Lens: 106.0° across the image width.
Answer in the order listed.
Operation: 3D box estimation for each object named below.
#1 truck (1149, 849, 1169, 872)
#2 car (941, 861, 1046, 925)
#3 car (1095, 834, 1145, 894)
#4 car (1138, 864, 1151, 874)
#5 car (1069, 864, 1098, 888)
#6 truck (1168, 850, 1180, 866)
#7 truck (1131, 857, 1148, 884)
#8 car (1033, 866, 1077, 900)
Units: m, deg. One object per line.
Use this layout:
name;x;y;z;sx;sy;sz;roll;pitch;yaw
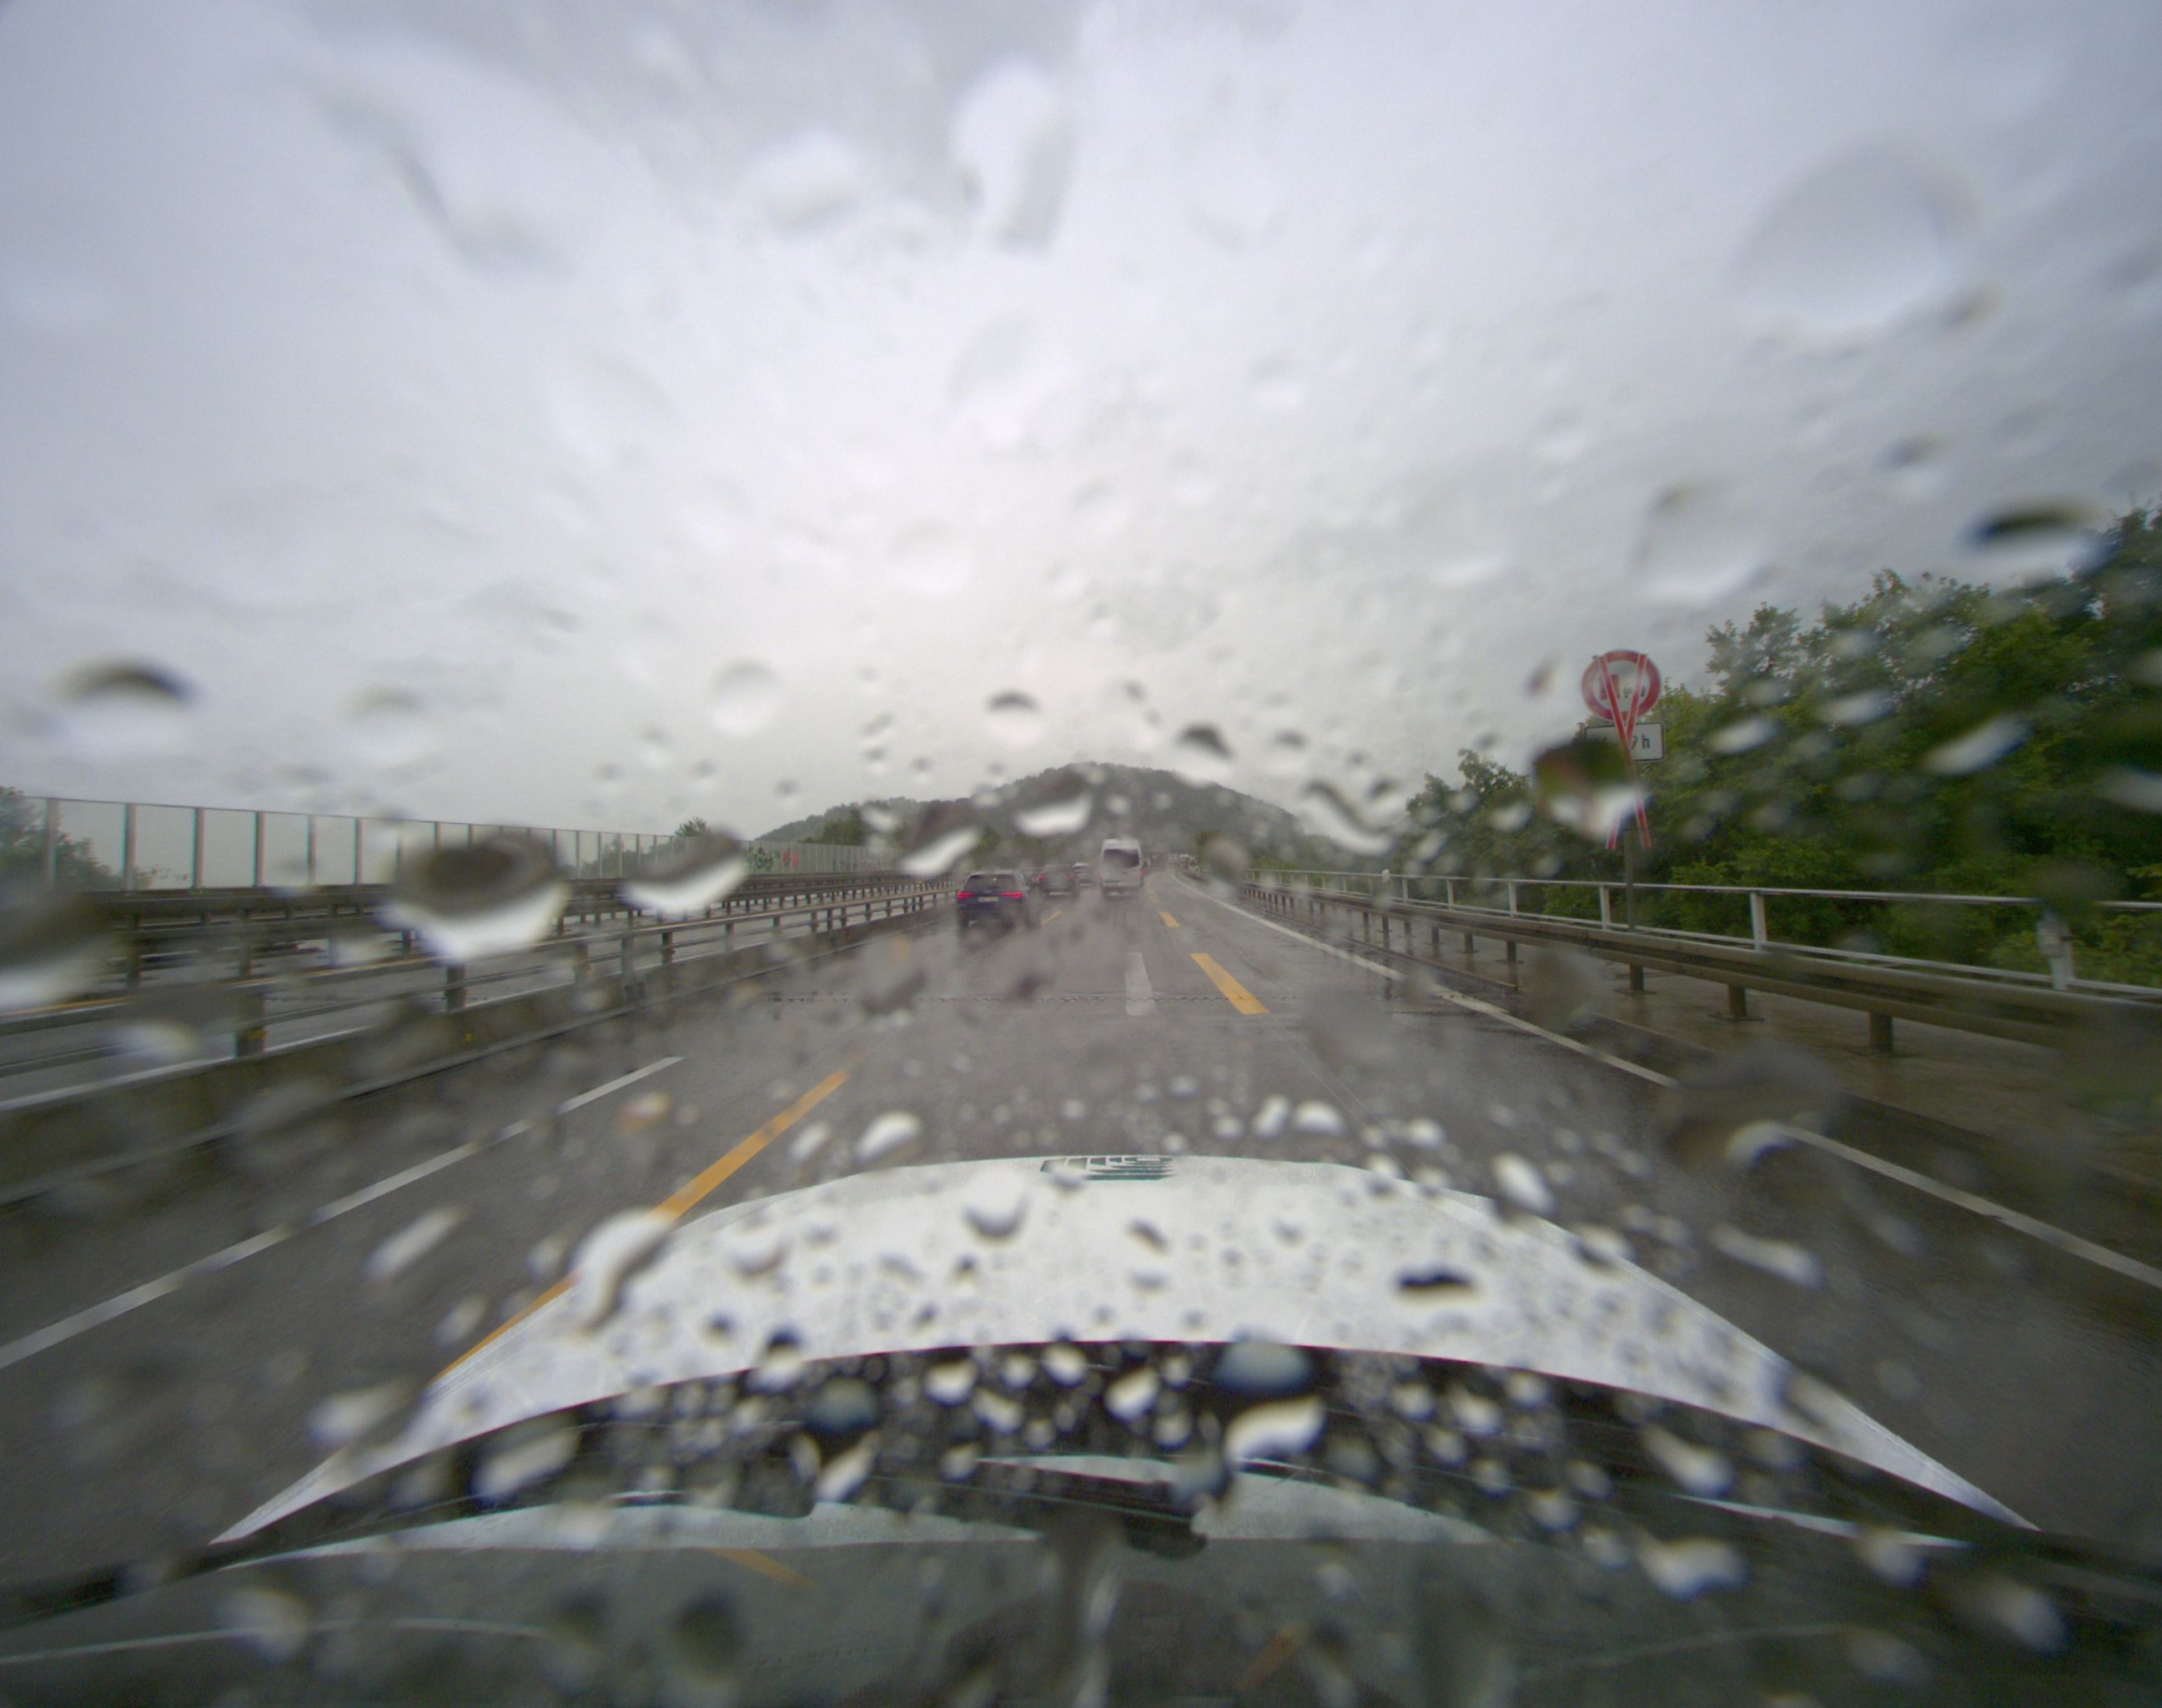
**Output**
truck;15.727;1.334;163.865;3.561;4.407;9.646;0;-1;9
car;-2.177;0.965;21.629;1.985;1.498;4.634;0;-1;3
car;1.796;0.488;37.588;2.136;2.571;5.393;0;-1;3
car;9.356;2.193;119.727;1.764;1.475;4.008;0;-1;8
car;0.141;1.555;57.549;1.988;1.617;4.794;0;-1;-1
truck;26.653;1.189;232.710;3.019;4.407;9.644;0;-1;8
truck;7.260;2.057;100.809;1.984;3.109;8.507;0;-1;4
car;-1.226;1.385;39.905;1.987;1.585;4.412;0;-1;0
